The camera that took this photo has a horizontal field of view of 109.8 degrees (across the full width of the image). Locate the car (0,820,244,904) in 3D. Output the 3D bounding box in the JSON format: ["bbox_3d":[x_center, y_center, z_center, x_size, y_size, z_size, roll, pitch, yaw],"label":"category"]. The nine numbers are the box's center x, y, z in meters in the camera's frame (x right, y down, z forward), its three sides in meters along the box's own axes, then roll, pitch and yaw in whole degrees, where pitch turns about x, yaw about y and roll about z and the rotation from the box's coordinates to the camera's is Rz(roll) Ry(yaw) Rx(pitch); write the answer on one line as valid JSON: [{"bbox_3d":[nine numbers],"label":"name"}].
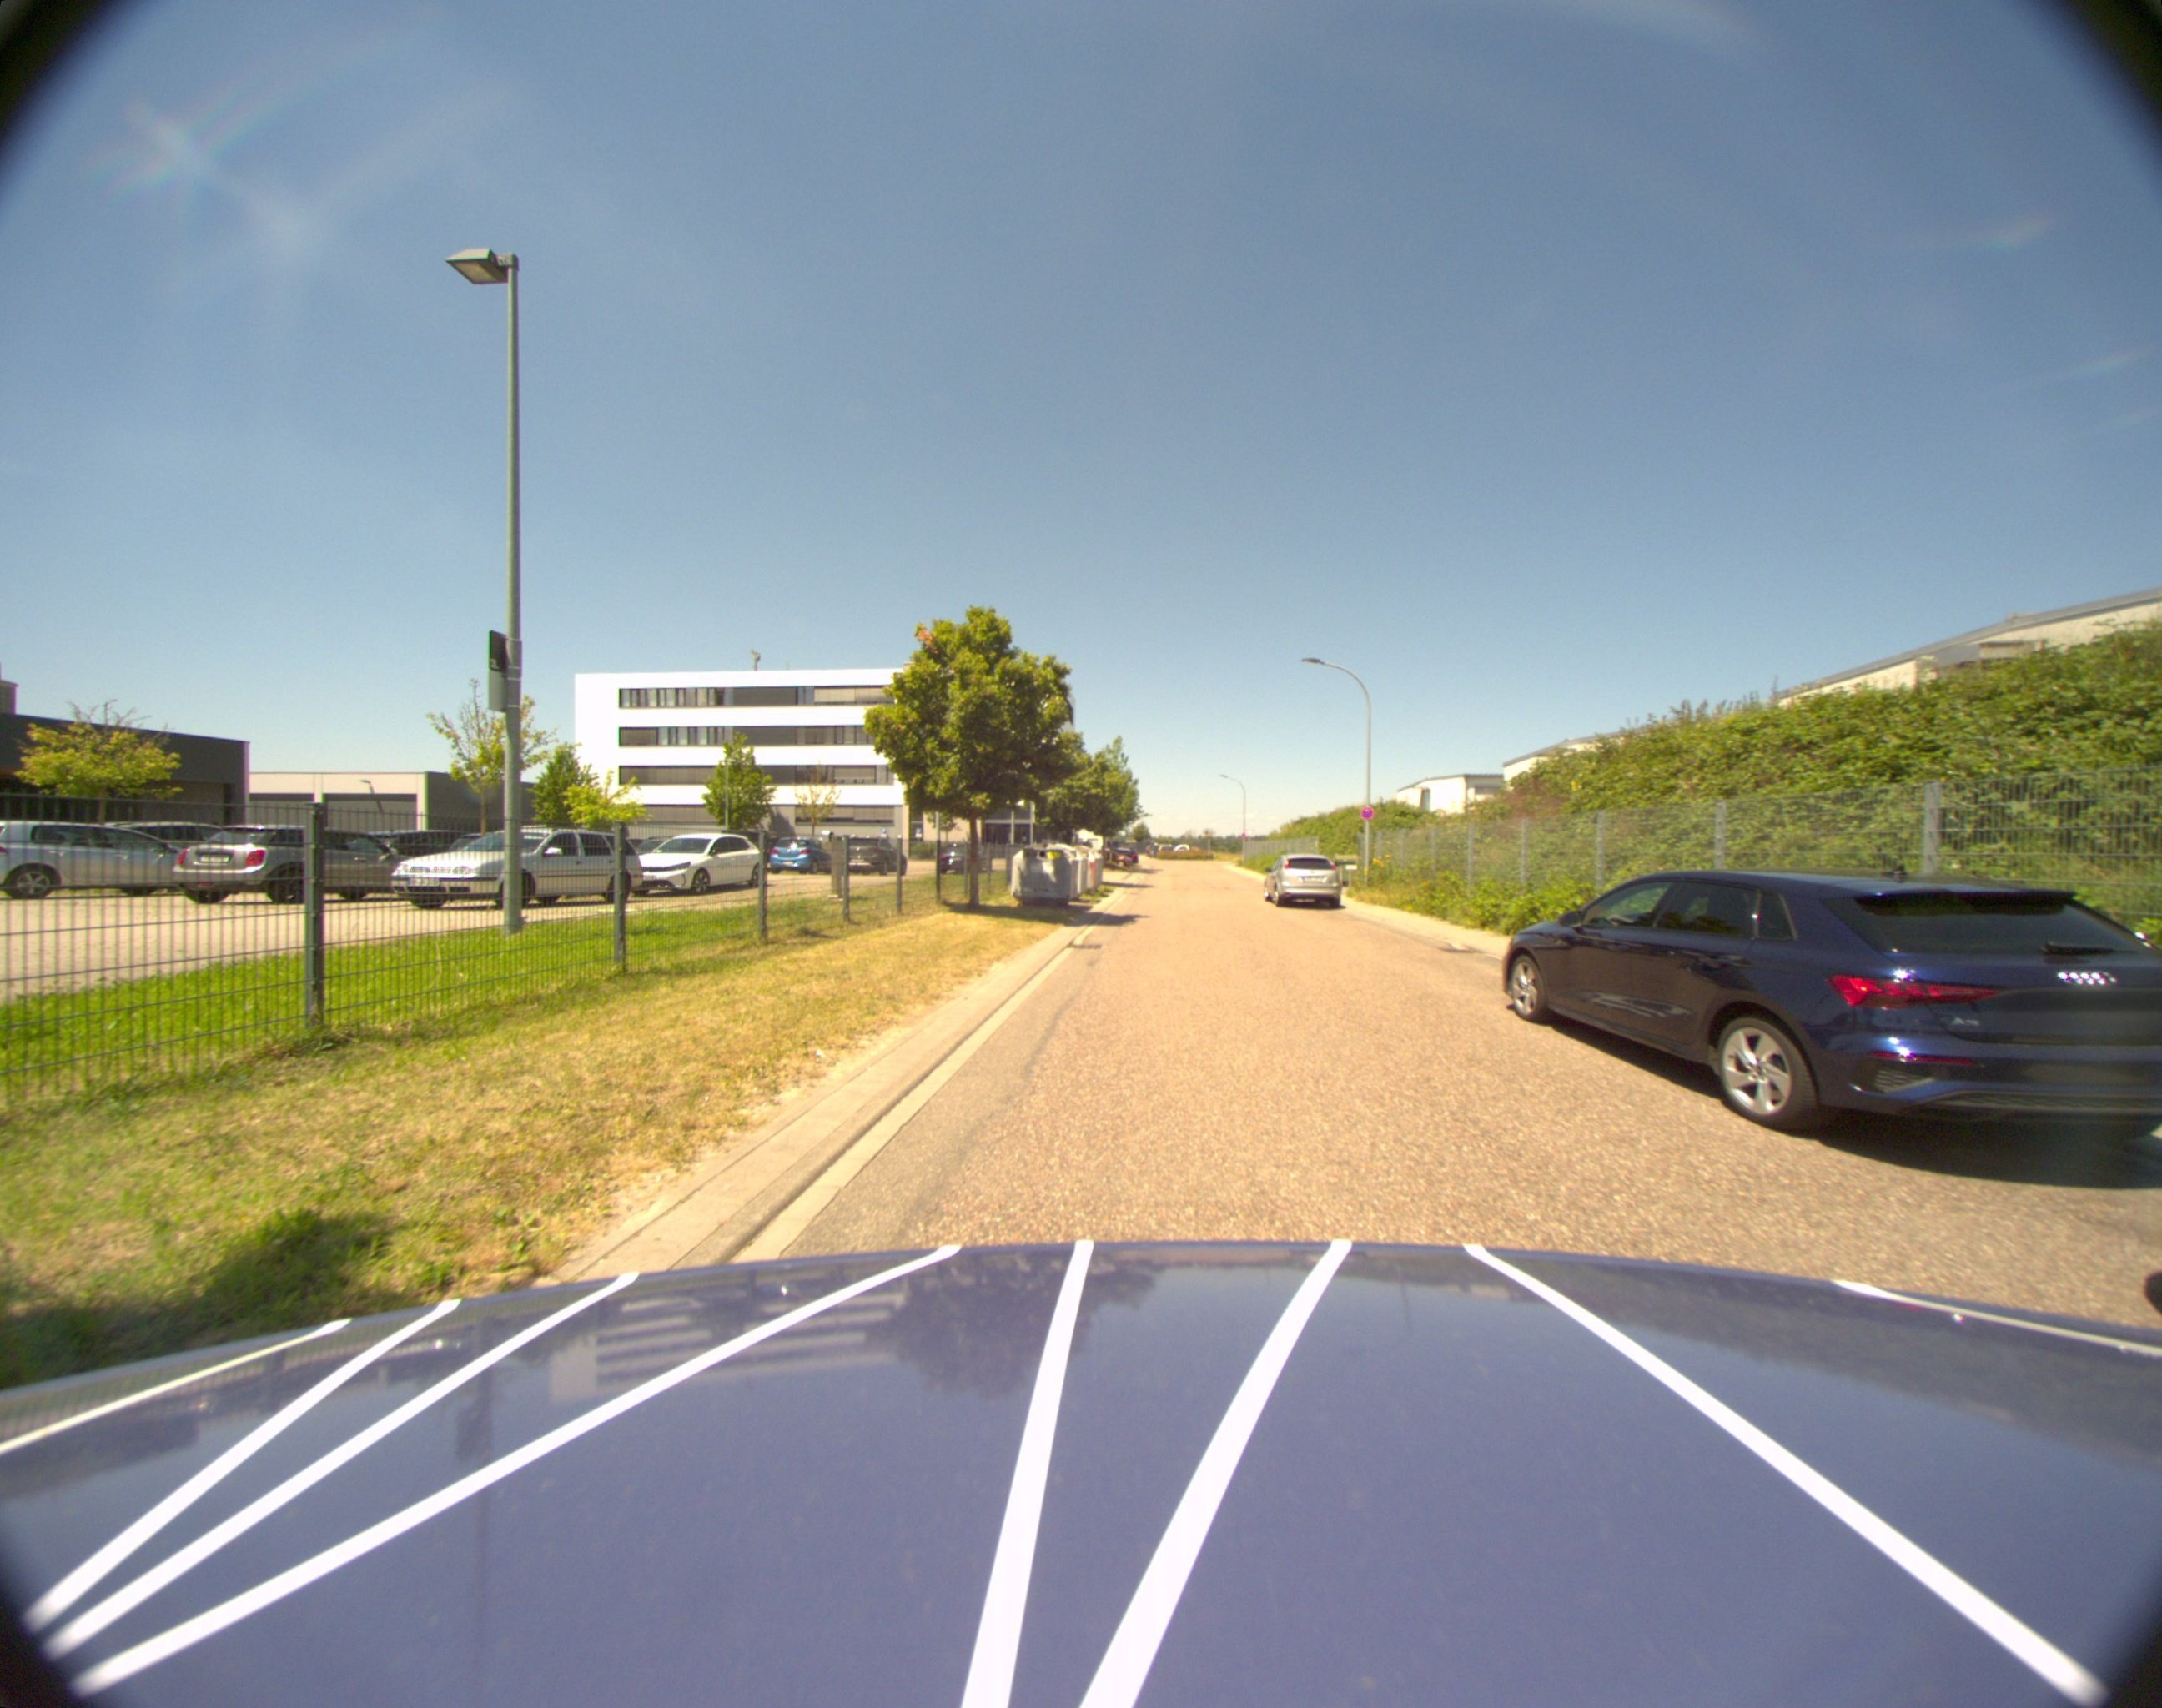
[{"bbox_3d":[-19.974,0.128,15.221,1.852,1.490,3.927,0,1,7],"label":"car"}]

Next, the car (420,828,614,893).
[{"bbox_3d":[-14.517,0.142,19.876,1.852,1.490,3.927,1,0,7],"label":"car"}]

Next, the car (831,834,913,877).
[{"bbox_3d":[-8.268,0.040,30.422,1.830,1.565,3.927,1,1,6],"label":"car"}]

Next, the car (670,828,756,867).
[{"bbox_3d":[-17.580,-0.241,36.498,1.830,1.634,3.929,-2,-3,8],"label":"car"}]

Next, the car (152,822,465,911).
[{"bbox_3d":[-14.665,0.196,14.801,1.852,1.490,3.927,0,1,7],"label":"car"}]

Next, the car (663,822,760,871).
[{"bbox_3d":[-15.838,-0.265,32.813,1.830,1.859,3.929,-2,-2,8],"label":"car"}]

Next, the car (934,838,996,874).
[{"bbox_3d":[-5.275,0.153,35.021,1.830,1.445,3.928,-2,-2,6],"label":"car"}]

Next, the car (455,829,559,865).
[{"bbox_3d":[-28.049,-0.286,37.305,1.830,1.527,3.929,-2,-2,8],"label":"car"}]

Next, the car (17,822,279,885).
[{"bbox_3d":[-24.325,-0.102,20.069,1.852,1.491,3.926,0,2,7],"label":"car"}]

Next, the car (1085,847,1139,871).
[{"bbox_3d":[2.429,0.369,59.146,3.995,1.694,1.891,-2,1,5],"label":"car"}]

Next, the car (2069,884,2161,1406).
[{"bbox_3d":[3.885,0.898,0.346,1.657,1.546,4.134,1,1,5],"label":"car"}]

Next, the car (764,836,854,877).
[{"bbox_3d":[-10.799,0.142,30.455,1.830,1.445,3.928,-2,-2,6],"label":"car"}]

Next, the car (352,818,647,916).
[{"bbox_3d":[-10.183,0.261,13.834,1.853,1.489,4.292,0,-2,5],"label":"car"}]

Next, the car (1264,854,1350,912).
[{"bbox_3d":[6.524,0.768,22.351,1.852,1.510,3.950,1,1,8],"label":"car"}]

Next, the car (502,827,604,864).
[{"bbox_3d":[-25.327,-0.380,36.605,1.830,1.527,3.929,-2,-2,8],"label":"car"}]

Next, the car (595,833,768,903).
[{"bbox_3d":[-9.756,0.258,18.956,1.852,1.491,3.925,0,3,7],"label":"car"}]

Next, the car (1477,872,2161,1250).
[{"bbox_3d":[4.737,0.931,5.329,1.939,1.446,4.283,1,1,5],"label":"car"}]

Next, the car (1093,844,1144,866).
[{"bbox_3d":[3.087,0.098,61.876,3.995,1.631,1.891,-2,1,5],"label":"car"}]
